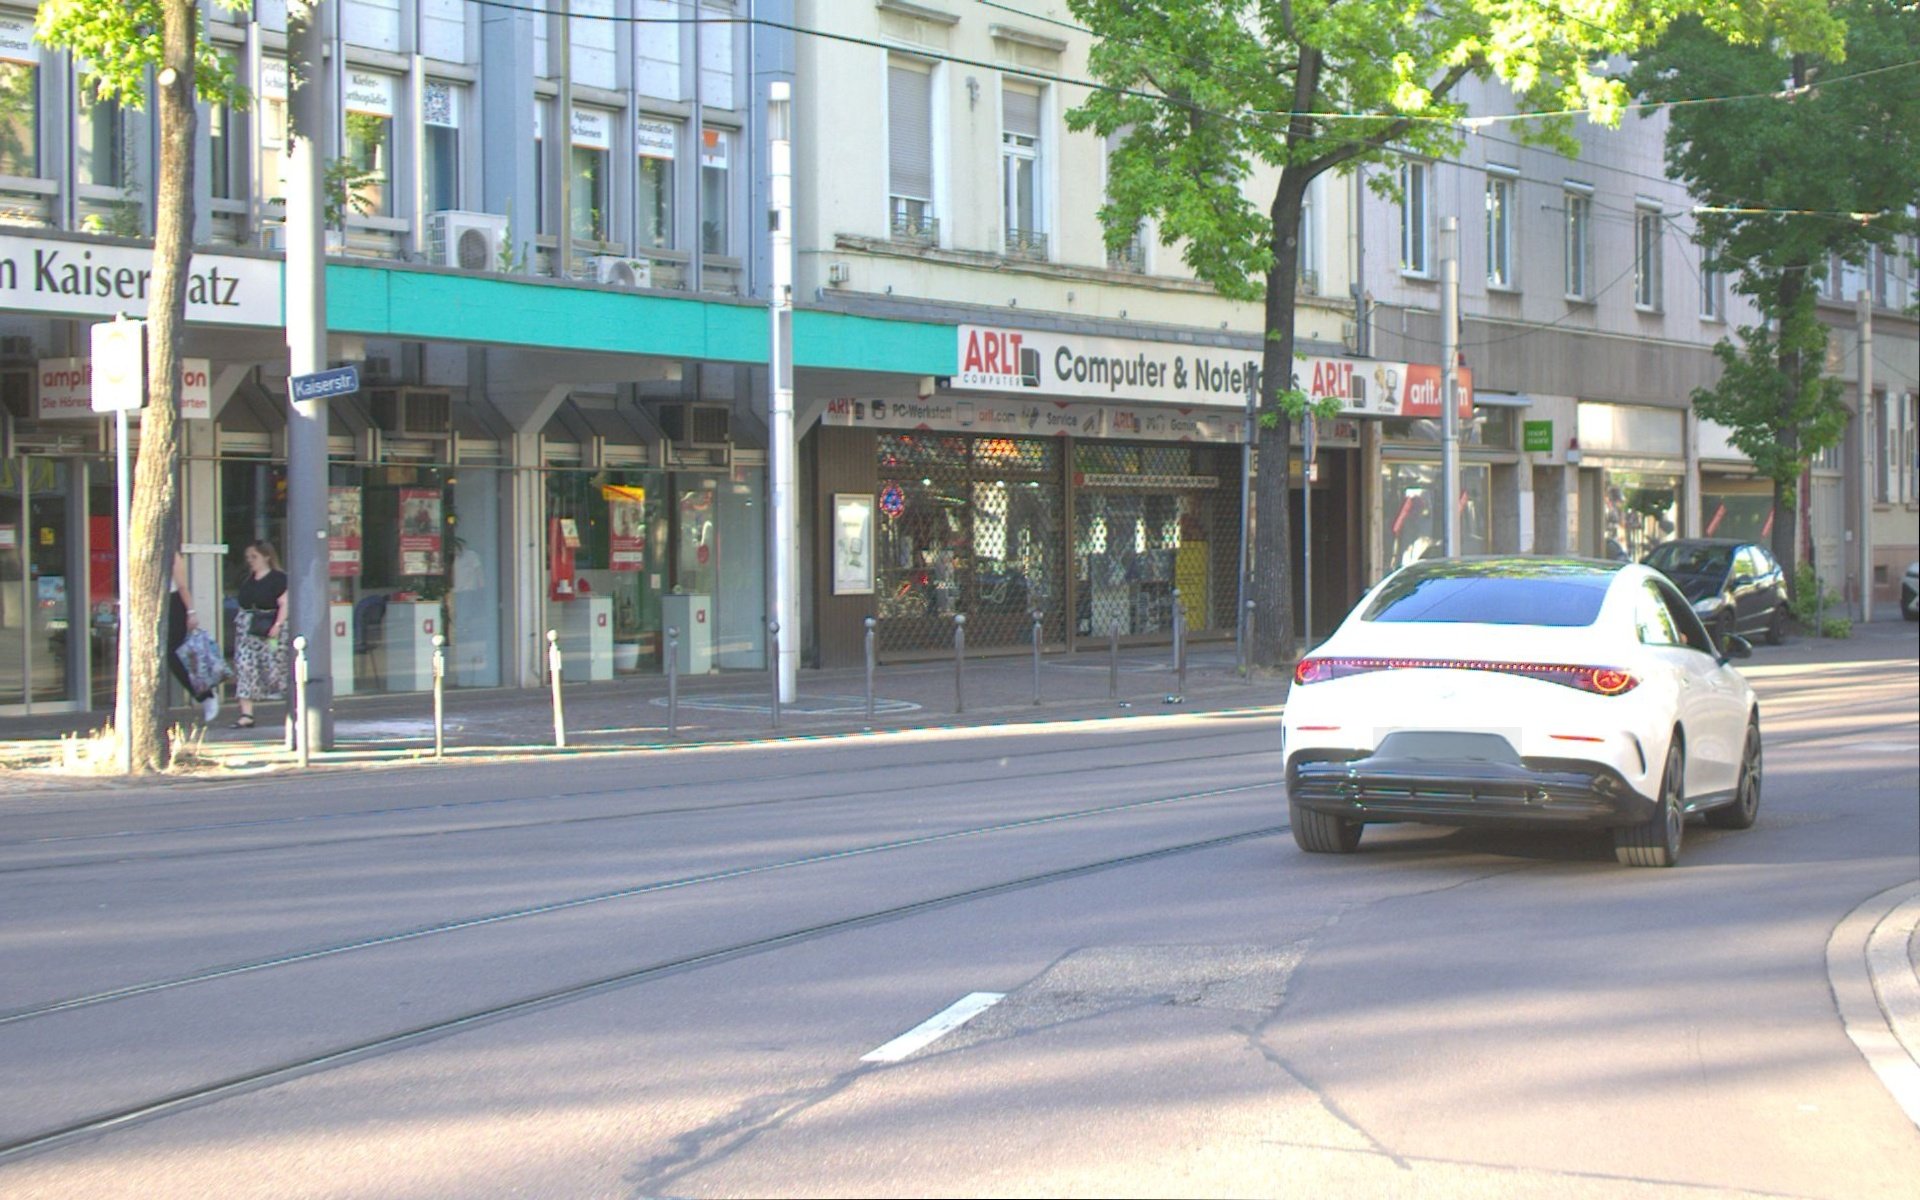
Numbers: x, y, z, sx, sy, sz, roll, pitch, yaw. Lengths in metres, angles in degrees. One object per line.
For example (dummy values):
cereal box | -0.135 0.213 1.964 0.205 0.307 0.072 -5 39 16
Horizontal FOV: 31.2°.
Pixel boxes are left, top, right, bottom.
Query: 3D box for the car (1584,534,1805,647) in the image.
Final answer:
car | 11.179 -0.176 52.157 1.965 1.634 3.992 1 1 33

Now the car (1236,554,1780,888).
car | 2.889 0.521 17.366 1.870 1.464 4.038 -1 1 21

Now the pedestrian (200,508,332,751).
pedestrian | -5.838 0.237 28.943 0.798 2.007 0.733 1 0 34

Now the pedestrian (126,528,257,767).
pedestrian | -6.558 0.393 29.334 0.798 2.007 0.733 1 0 34

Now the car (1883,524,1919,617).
car | 18.912 -0.534 63.878 1.966 1.634 4.803 4 3 33
